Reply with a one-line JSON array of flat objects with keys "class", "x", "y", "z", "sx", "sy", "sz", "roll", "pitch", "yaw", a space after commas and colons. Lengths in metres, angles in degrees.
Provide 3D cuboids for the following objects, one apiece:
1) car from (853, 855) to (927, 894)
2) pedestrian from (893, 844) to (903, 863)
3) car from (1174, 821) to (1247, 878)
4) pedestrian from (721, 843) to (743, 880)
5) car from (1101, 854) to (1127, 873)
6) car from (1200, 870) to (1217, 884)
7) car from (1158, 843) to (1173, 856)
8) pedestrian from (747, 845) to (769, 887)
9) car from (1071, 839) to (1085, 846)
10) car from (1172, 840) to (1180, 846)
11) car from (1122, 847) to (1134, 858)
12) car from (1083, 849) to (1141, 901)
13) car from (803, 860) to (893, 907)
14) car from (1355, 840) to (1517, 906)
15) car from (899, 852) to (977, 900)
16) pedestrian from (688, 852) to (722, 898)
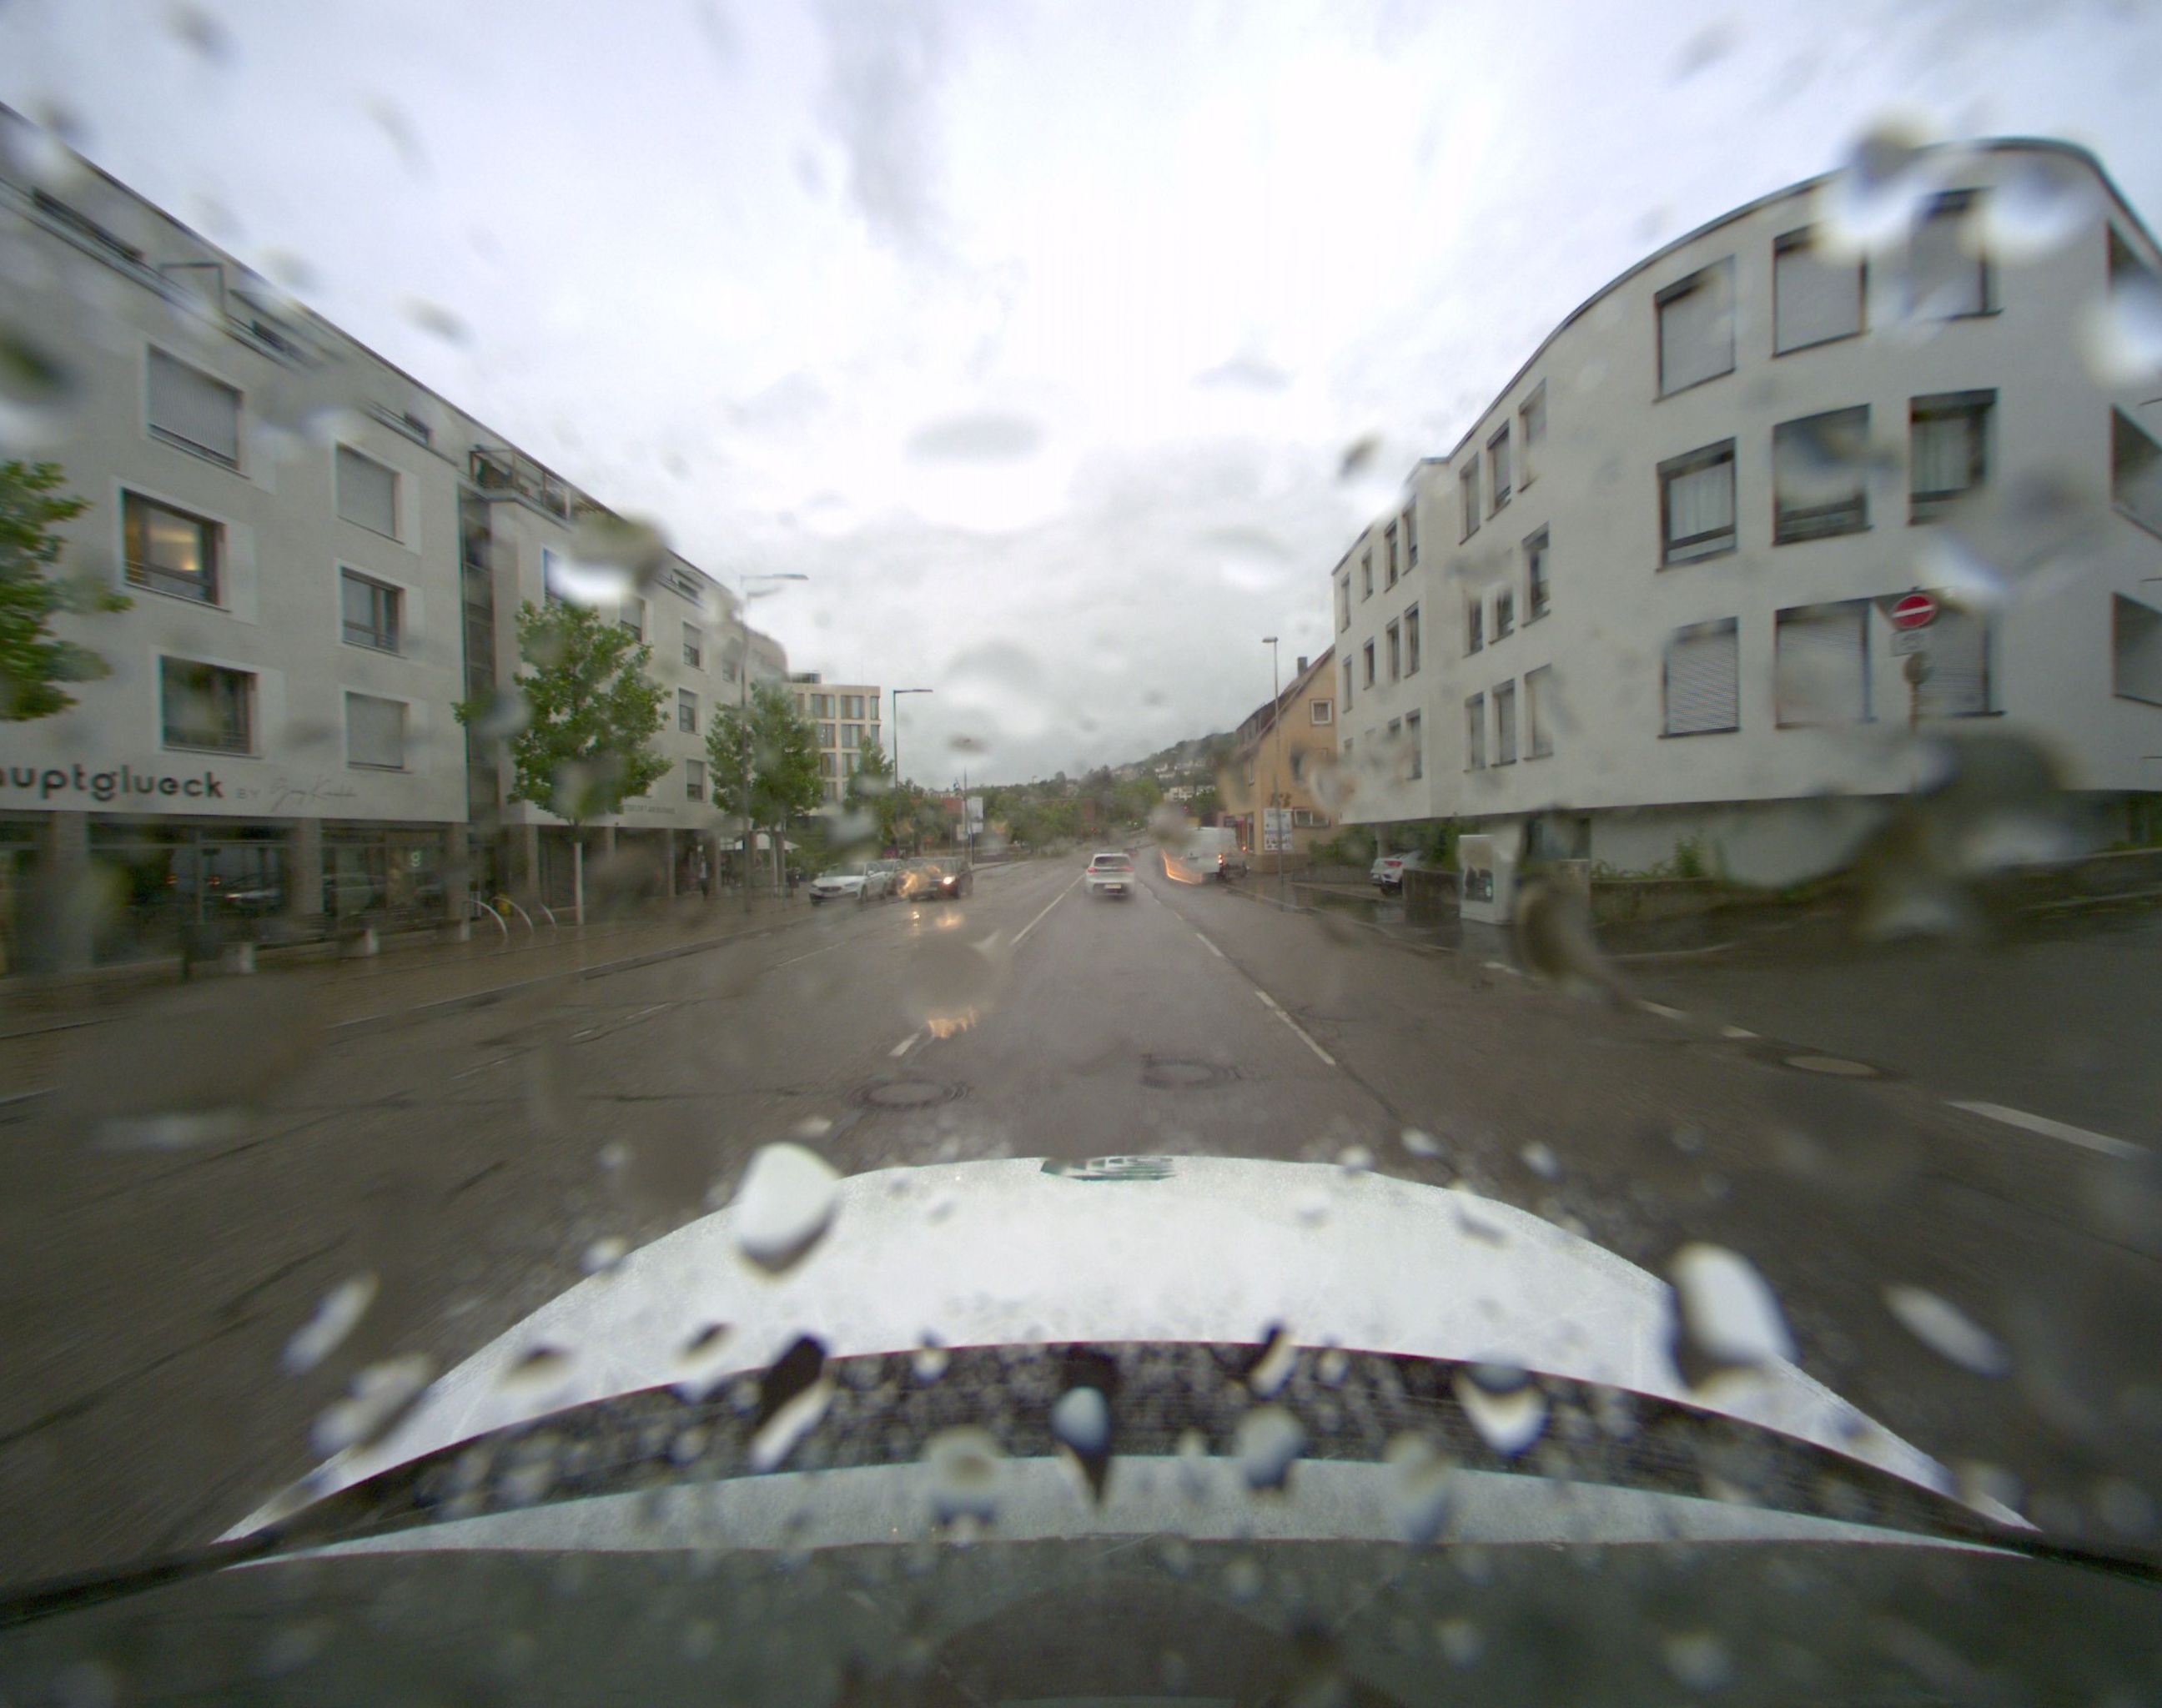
[{"class": "car", "x": -8.137, "y": 0.847, "z": 35.111, "sx": 1.683, "sy": 1.510, "sz": 4.583, "roll": -3, "pitch": -1, "yaw": 5}, {"class": "pedestrian", "x": -16.740, "y": -0.037, "z": 74.531, "sx": 0.783, "sy": 1.745, "sz": 0.671, "roll": -2, "pitch": -1, "yaw": -12}, {"class": "car", "x": 6.341, "y": -0.179, "z": 39.116, "sx": 2.272, "sy": 2.382, "sz": 6.656, "roll": -3, "pitch": -1, "yaw": 19}, {"class": "pedestrian", "x": -19.568, "y": 0.446, "z": 45.682, "sx": 0.848, "sy": 2.014, "sz": 0.935, "roll": -2, "pitch": -1, "yaw": -5}, {"class": "car", "x": 2.407, "y": 0.661, "z": 58.972, "sx": 1.734, "sy": 1.295, "sz": 3.337, "roll": -2, "pitch": 0, "yaw": 3}, {"class": "car", "x": 16.638, "y": 2.979, "z": 106.513, "sx": 1.718, "sy": 1.497, "sz": 4.498, "roll": -3, "pitch": 1, "yaw": 14}, {"class": "car", "x": 10.706, "y": -0.548, "z": 103.007, "sx": 1.726, "sy": 1.387, "sz": 3.357, "roll": -1, "pitch": 4, "yaw": 4}, {"class": "pedestrian", "x": -16.576, "y": 0.626, "z": 41.774, "sx": 0.742, "sy": 2.145, "sz": 0.773, "roll": -1, "pitch": -1, "yaw": 10}, {"class": "car", "x": -0.626, "y": -2.294, "z": 164.103, "sx": 2.430, "sy": 1.157, "sz": 1.359, "roll": -2, "pitch": -1, "yaw": -25}, {"class": "car", "x": 17.324, "y": -2.002, "z": 149.075, "sx": 1.378, "sy": 1.126, "sz": 2.614, "roll": -3, "pitch": -1, "yaw": 5}, {"class": "car", "x": 5.425, "y": -0.175, "z": 94.234, "sx": 1.208, "sy": 1.156, "sz": 2.270, "roll": -2, "pitch": -1, "yaw": 1}, {"class": "car", "x": 0.936, "y": 0.678, "z": 26.585, "sx": 1.685, "sy": 1.519, "sz": 3.932, "roll": -2, "pitch": -1, "yaw": 0}, {"class": "car", "x": -8.046, "y": 0.979, "z": 28.557, "sx": 1.789, "sy": 1.463, "sz": 4.478, "roll": -2, "pitch": -1, "yaw": 0}, {"class": "car", "x": 10.132, "y": 0.503, "z": 23.464, "sx": 3.778, "sy": 1.530, "sz": 1.820, "roll": 5, "pitch": 1, "yaw": 1}, {"class": "car", "x": -5.113, "y": 0.774, "z": 29.661, "sx": 1.873, "sy": 1.524, "sz": 4.186, "roll": -2, "pitch": -1, "yaw": 2}, {"class": "pedestrian", "x": -14.746, "y": 0.811, "z": 31.958, "sx": 0.806, "sy": 1.738, "sz": 1.003, "roll": -2, "pitch": -1, "yaw": 1}]
